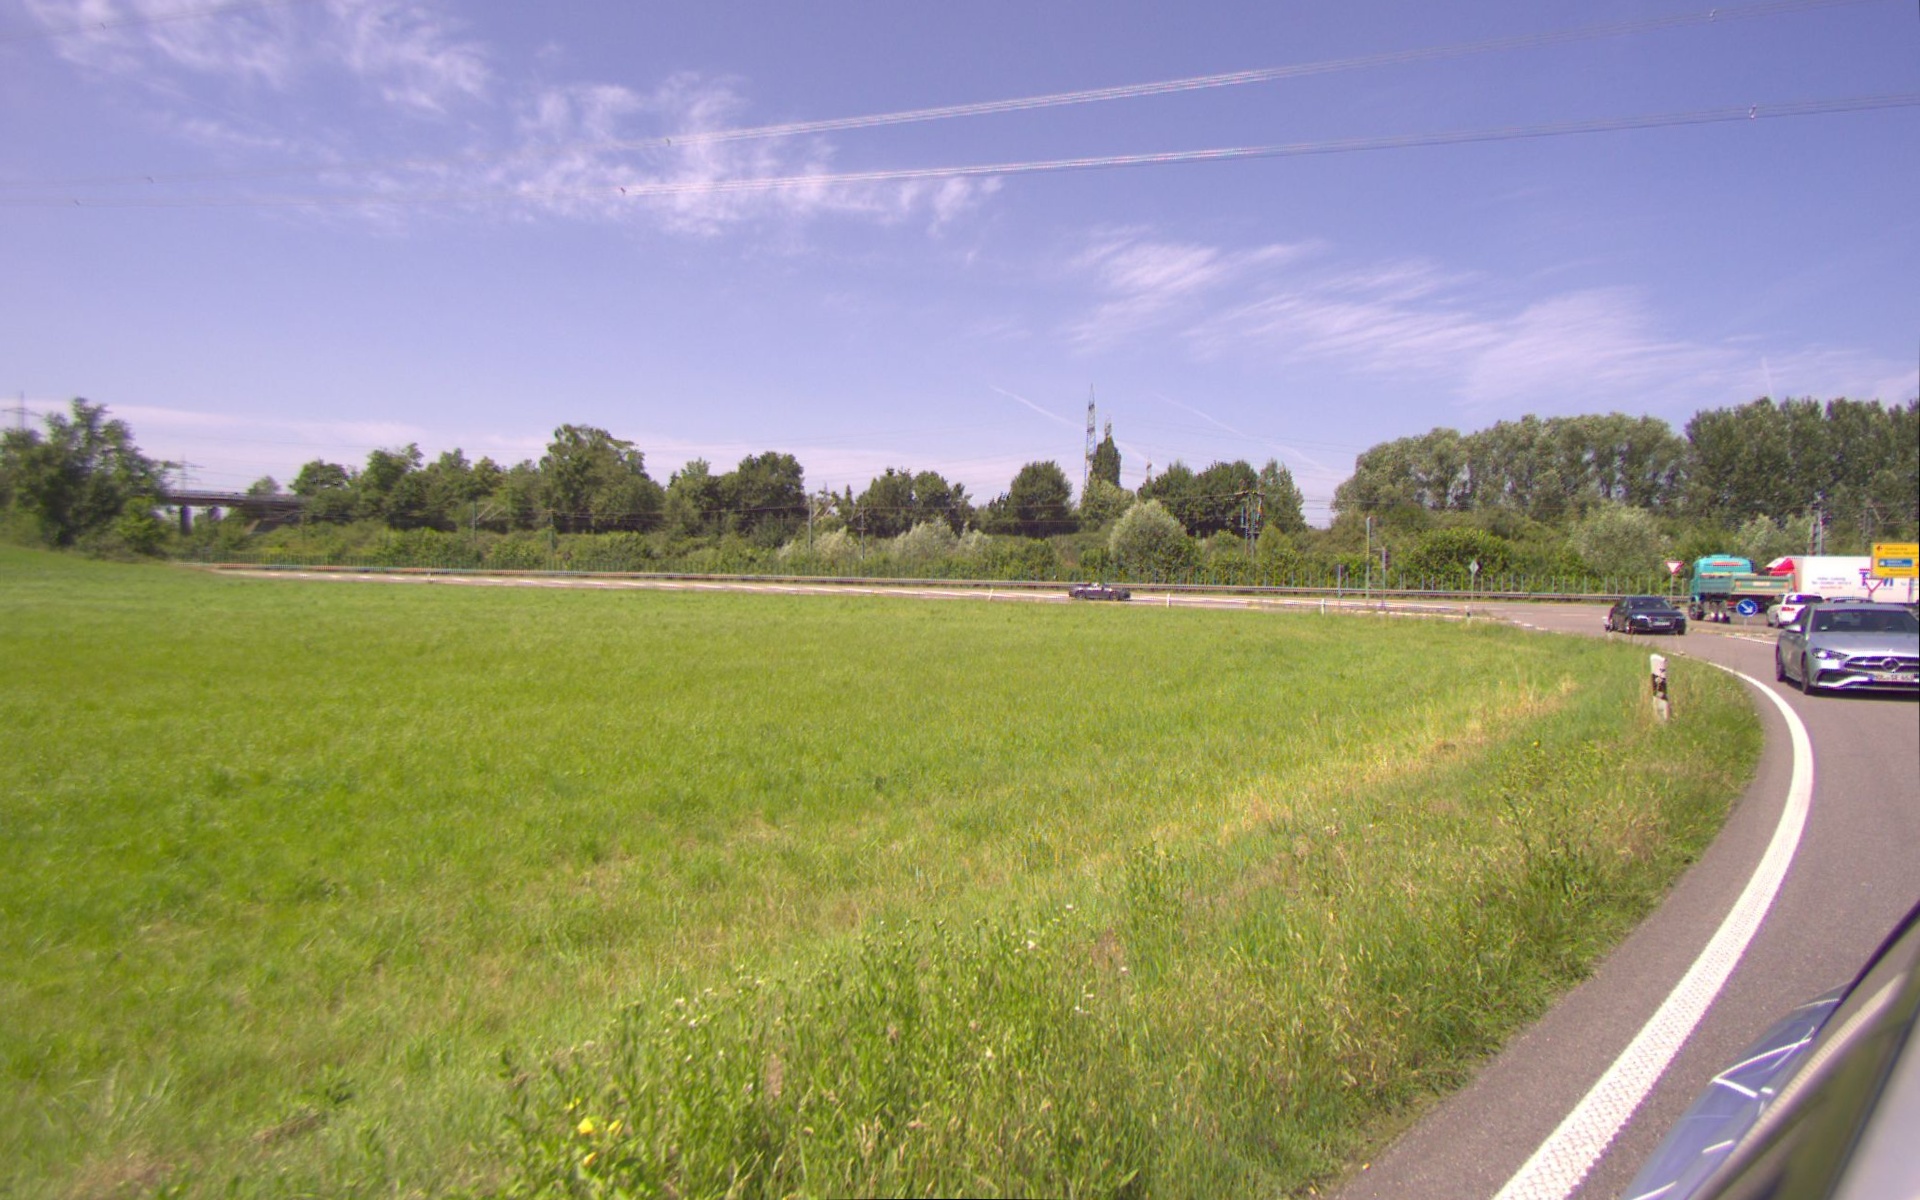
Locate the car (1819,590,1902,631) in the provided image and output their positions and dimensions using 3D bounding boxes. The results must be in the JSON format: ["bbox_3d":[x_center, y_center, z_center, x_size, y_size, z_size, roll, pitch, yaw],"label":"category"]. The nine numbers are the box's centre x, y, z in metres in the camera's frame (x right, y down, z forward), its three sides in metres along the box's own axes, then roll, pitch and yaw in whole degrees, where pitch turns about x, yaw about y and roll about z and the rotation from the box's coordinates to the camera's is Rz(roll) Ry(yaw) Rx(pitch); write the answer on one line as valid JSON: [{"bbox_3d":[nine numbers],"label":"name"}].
[{"bbox_3d":[35.073,0.353,39.516,1.624,1.478,3.965,1,1,30],"label":"car"}]

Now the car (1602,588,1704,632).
[{"bbox_3d":[26.073,0.327,38.246,1.798,1.457,4.132,1,2,13],"label":"car"}]

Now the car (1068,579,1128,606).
[{"bbox_3d":[9.786,-0.564,71.878,3.952,1.745,1.713,2,2,21],"label":"car"}]

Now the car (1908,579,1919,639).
[{"bbox_3d":[30.111,0.308,30.149,1.919,1.855,4.386,2,1,33],"label":"car"}]

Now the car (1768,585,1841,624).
[{"bbox_3d":[37.755,0.179,45.341,1.763,1.641,4.284,0,0,30],"label":"car"}]

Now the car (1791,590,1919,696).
[{"bbox_3d":[15.042,0.616,16.634,1.814,1.505,4.096,1,2,35],"label":"car"}]

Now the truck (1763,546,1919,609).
[{"bbox_3d":[54.305,-1.315,60.480,9.428,3.624,2.710,0,1,18],"label":"truck"}]

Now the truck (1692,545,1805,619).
[{"bbox_3d":[40.428,-0.934,52.149,2.581,3.514,7.552,2,1,23],"label":"truck"}]
